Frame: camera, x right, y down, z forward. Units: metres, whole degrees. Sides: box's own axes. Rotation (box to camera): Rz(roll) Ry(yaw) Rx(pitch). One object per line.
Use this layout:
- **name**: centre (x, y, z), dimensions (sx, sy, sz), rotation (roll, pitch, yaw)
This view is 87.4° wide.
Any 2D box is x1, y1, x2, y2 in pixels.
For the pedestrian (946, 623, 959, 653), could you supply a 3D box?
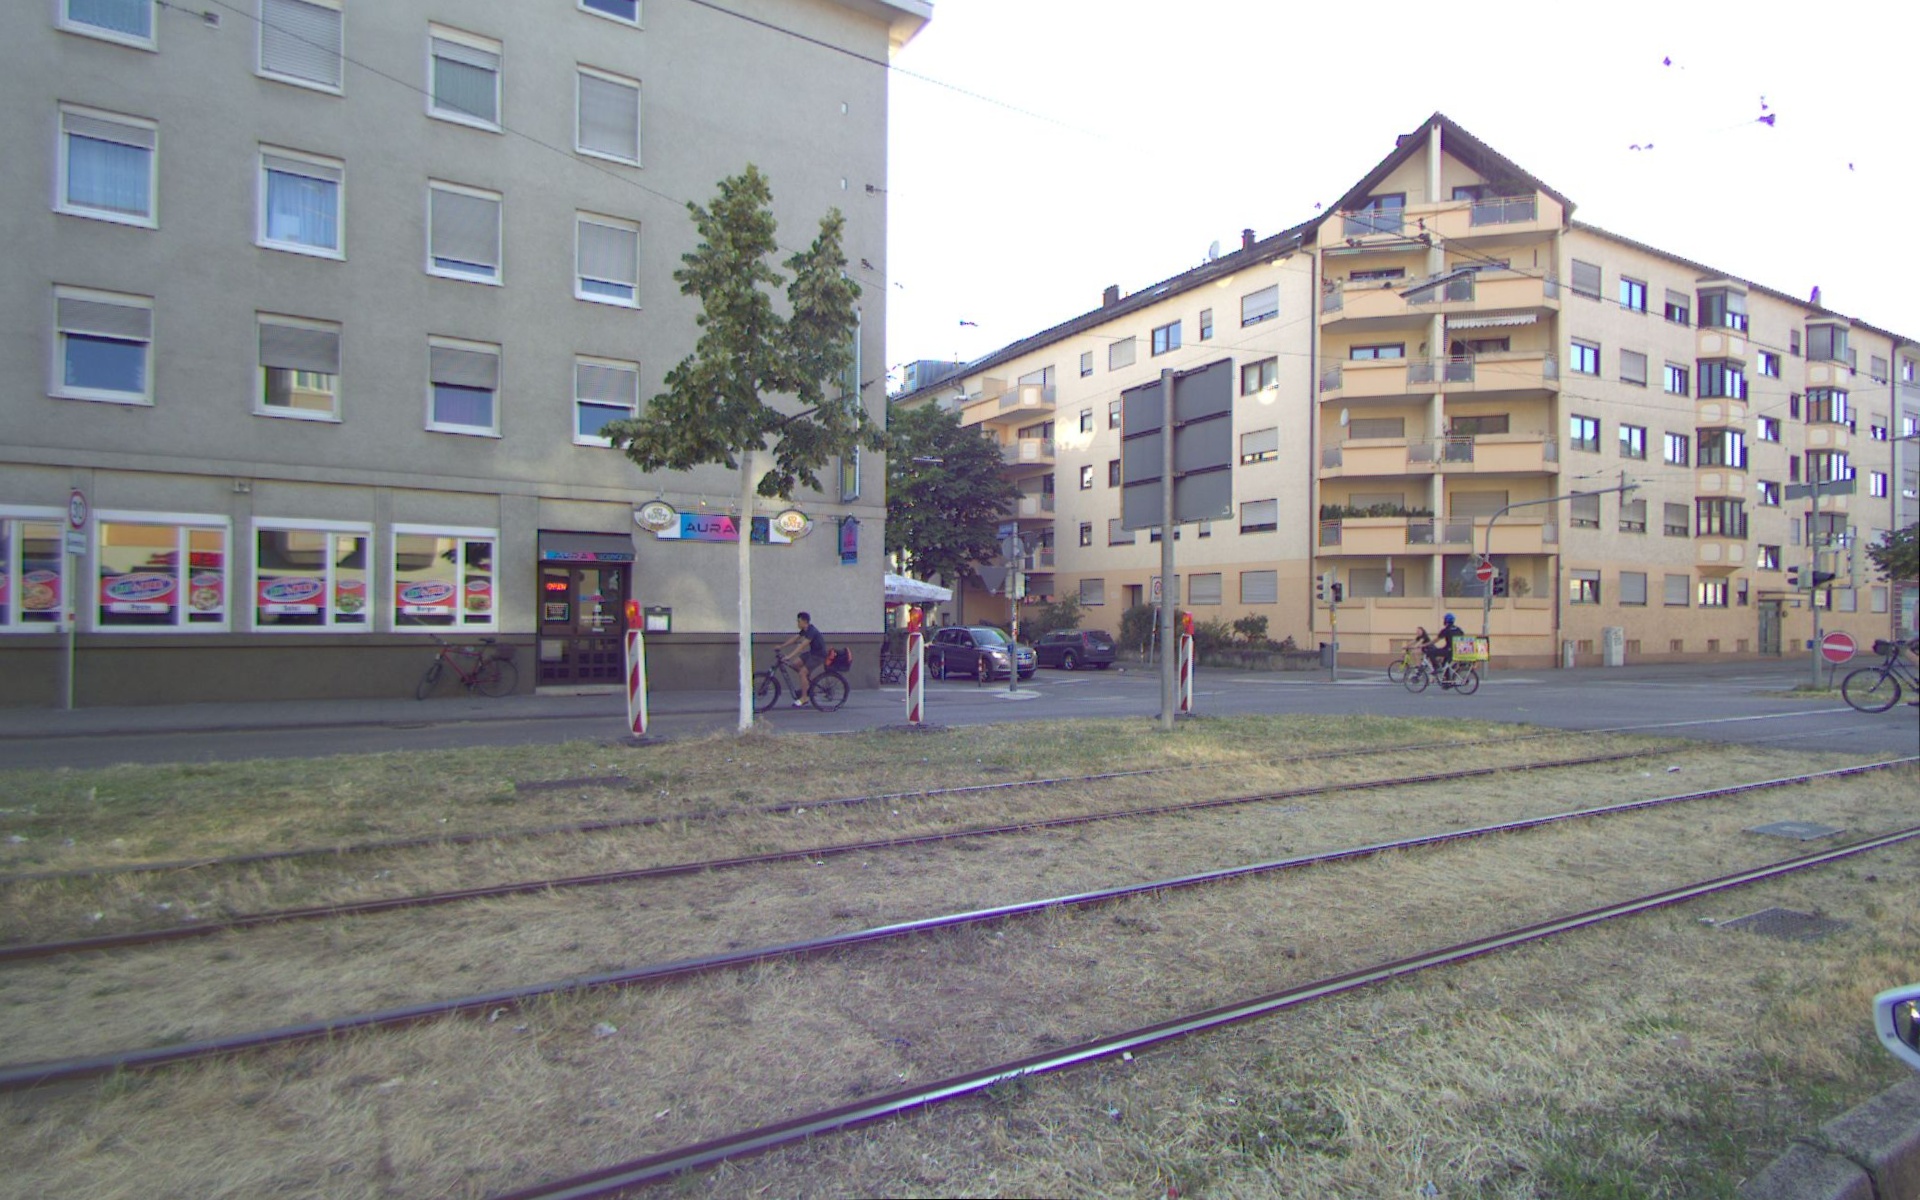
- **pedestrian**: centre (-0.387, 1.985, 52.713), dimensions (0.509, 1.573, 0.547), rotation (1, -1, -24)

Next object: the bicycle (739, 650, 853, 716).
- **bicycle**: centre (-2.748, 1.392, 16.875), dimensions (1.832, 1.058, 0.445), rotation (2, 0, -20)

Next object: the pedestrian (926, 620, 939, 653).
- **pedestrian**: centre (-1.433, 1.914, 52.559), dimensions (0.456, 1.727, 0.589), rotation (2, 0, -24)

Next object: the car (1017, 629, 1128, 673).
- **car**: centre (4.143, 1.871, 37.585), dimensions (1.981, 1.462, 3.958), rotation (0, 0, -37)

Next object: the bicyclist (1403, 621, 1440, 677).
- **bicyclist**: centre (13.466, 1.414, 29.311), dimensions (0.793, 1.607, 0.628), rotation (0, 0, 4)

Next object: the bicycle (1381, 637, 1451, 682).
- **bicycle**: centre (13.308, 1.740, 29.320), dimensions (1.833, 1.274, 0.457), rotation (0, 0, 3)

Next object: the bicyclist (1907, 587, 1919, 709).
- **bicyclist**: centre (15.410, 0.740, 15.656), dimensions (0.646, 1.907, 0.801), rotation (-1, 0, -34)

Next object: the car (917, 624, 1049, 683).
- **car**: centre (0.664, 1.613, 31.545), dimensions (1.982, 1.645, 4.153), rotation (-1, 0, -38)

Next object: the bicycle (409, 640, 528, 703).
- **bicycle**: centre (-8.648, 1.240, 17.686), dimensions (1.823, 1.037, 0.605), rotation (2, 0, -31)

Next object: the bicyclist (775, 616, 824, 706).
- **bicyclist**: centre (-2.699, 1.014, 16.889), dimensions (0.640, 1.466, 0.776), rotation (2, 0, -21)

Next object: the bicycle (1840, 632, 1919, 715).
- **bicycle**: centre (15.241, 1.176, 15.950), dimensions (0.452, 1.274, 1.852), rotation (-1, 0, -35)
